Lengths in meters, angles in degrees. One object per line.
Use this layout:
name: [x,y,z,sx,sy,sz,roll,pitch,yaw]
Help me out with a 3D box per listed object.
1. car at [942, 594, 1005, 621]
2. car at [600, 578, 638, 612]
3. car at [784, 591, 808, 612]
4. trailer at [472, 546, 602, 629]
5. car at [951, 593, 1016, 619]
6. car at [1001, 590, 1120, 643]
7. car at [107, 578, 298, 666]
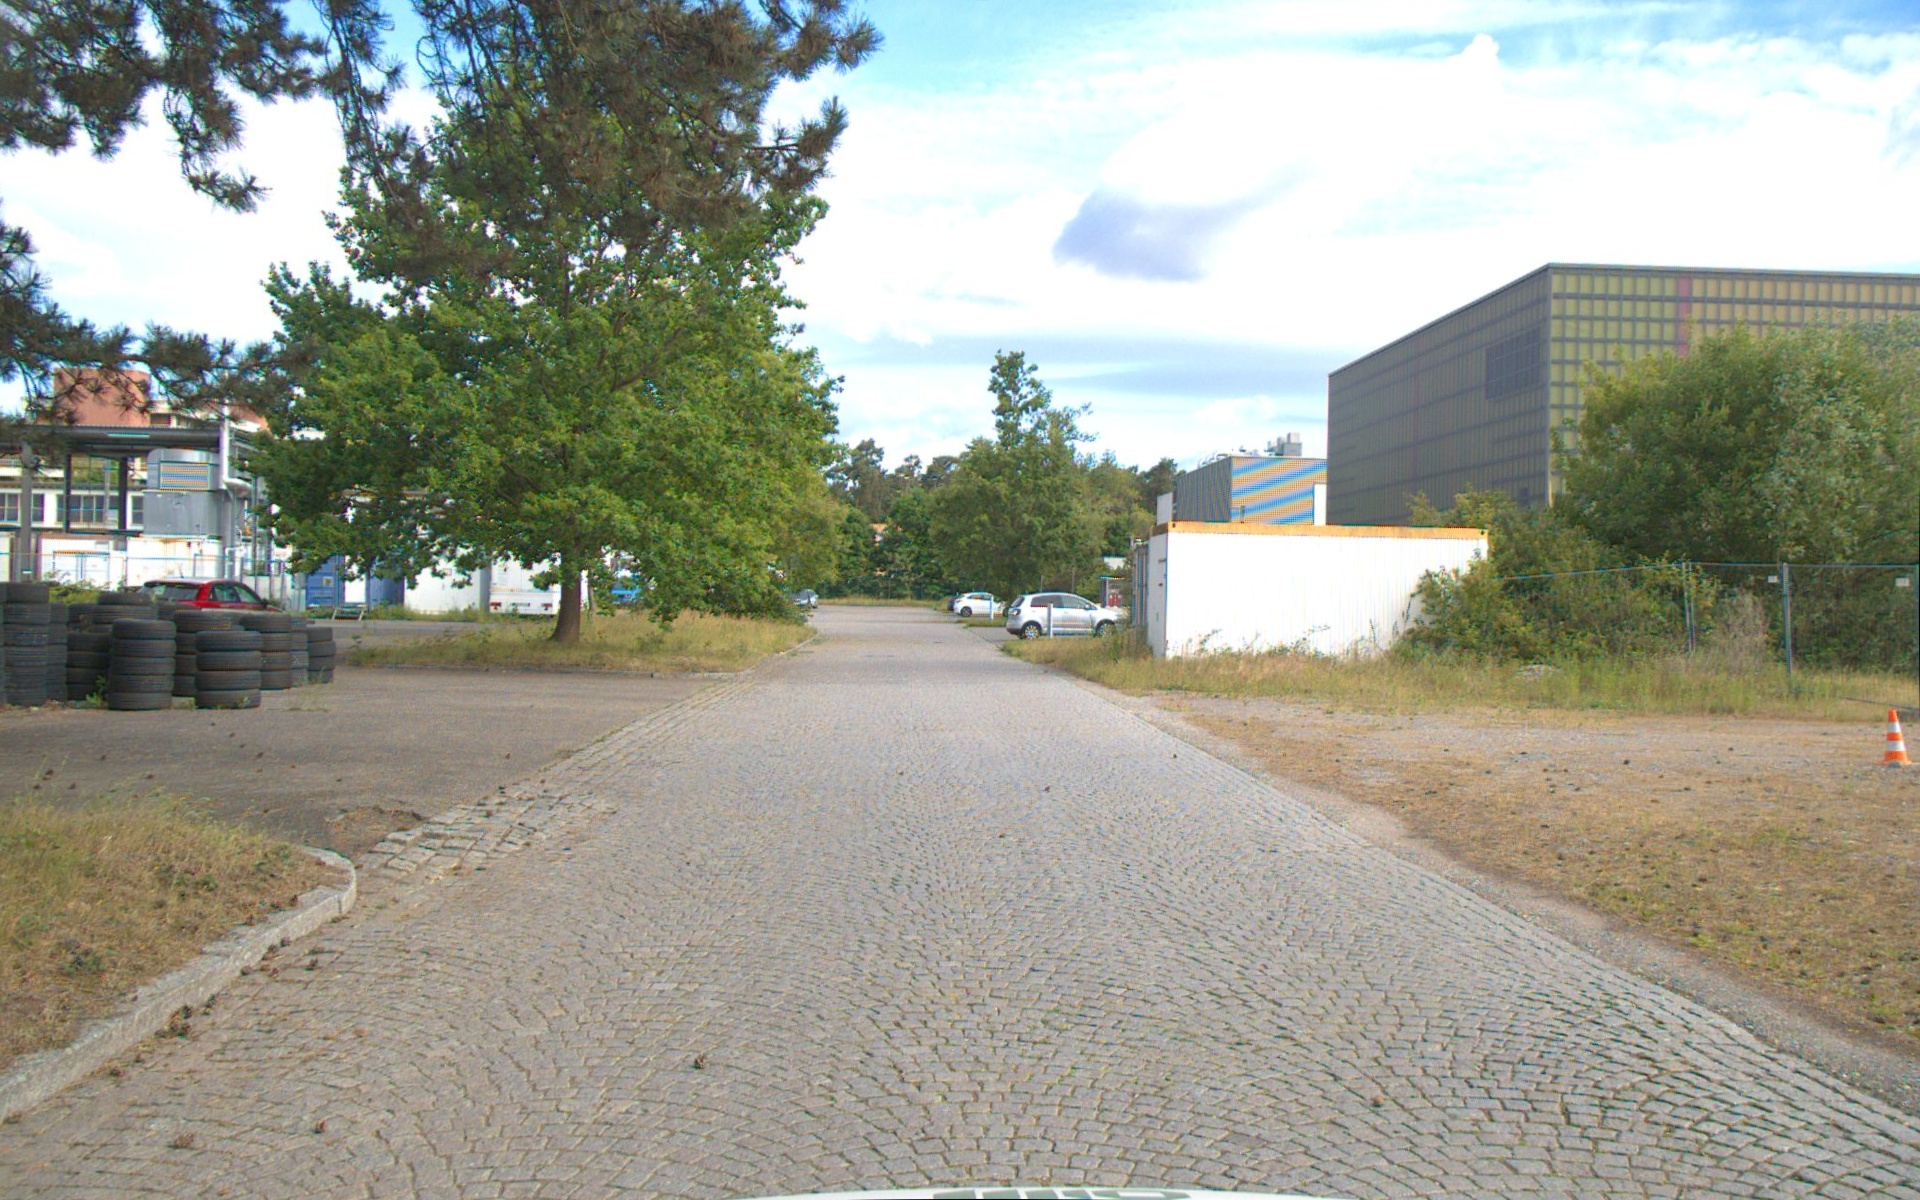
car: [0.873,0.485,107.524,3.909,1.629,1.727,1,0,-6]
car: [-22.208,-0.322,107.810,1.887,2.083,4.595,1,0,-5]
car: [-11.909,0.102,120.371,1.701,1.495,4.041,1,0,-5]
trailer: [-17.099,-0.500,67.522,3.094,3.121,8.782,1,0,-1]
car: [1.451,0.349,101.995,3.944,1.528,1.547,1,0,-2]
car: [3.381,0.551,55.906,3.775,1.683,1.684,1,0,-6]
car: [-13.742,0.370,30.214,1.730,1.478,3.489,1,0,3]
